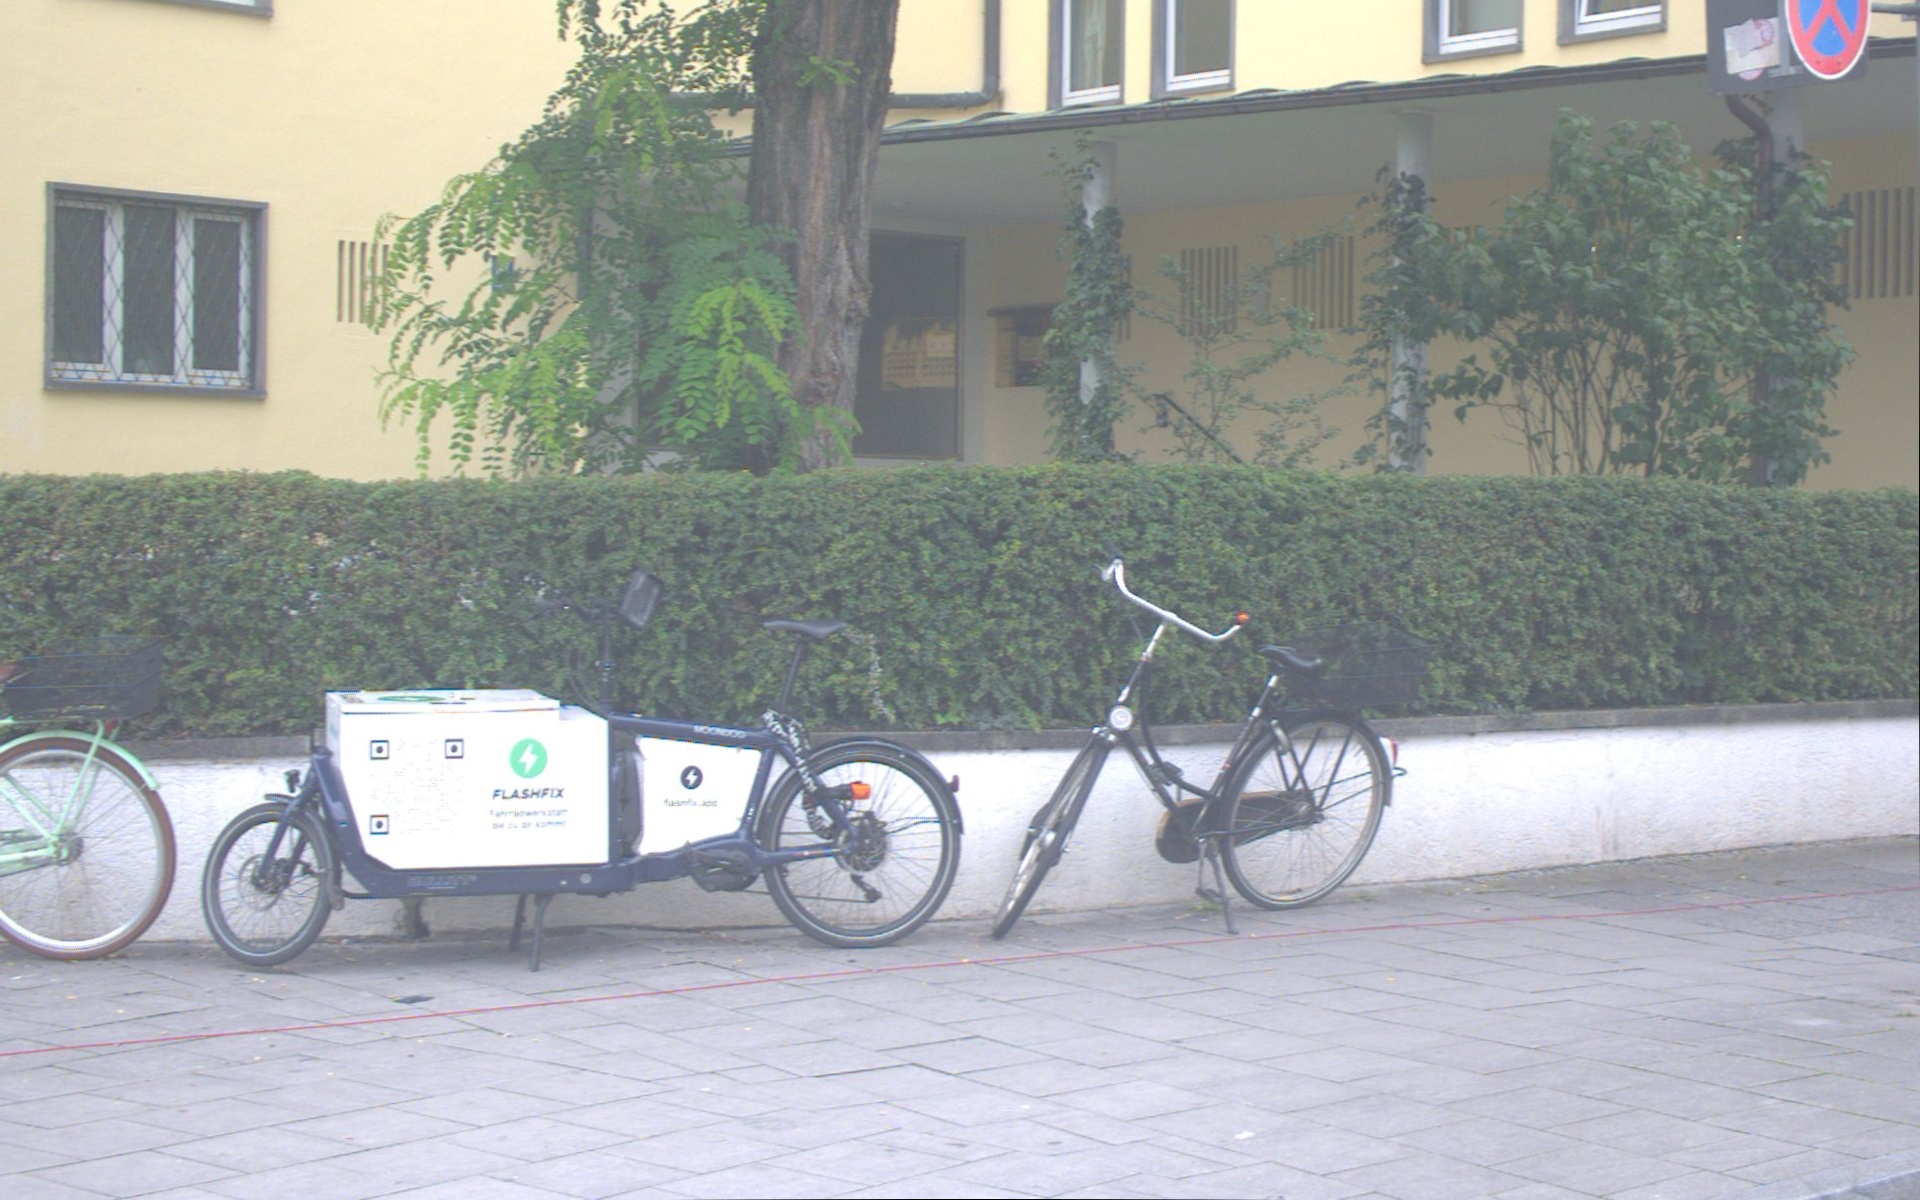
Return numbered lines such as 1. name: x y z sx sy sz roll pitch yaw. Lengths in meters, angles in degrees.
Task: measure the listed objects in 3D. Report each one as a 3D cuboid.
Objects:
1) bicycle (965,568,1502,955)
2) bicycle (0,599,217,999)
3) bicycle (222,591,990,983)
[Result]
1. bicycle: 0.949 0.507 11.662 1.848 1.206 0.563 0 3 -34
2. bicycle: -3.343 0.588 10.661 1.947 1.152 0.583 0 3 13
3. bicycle: -1.099 0.556 10.609 2.289 1.122 0.583 0 3 -13
